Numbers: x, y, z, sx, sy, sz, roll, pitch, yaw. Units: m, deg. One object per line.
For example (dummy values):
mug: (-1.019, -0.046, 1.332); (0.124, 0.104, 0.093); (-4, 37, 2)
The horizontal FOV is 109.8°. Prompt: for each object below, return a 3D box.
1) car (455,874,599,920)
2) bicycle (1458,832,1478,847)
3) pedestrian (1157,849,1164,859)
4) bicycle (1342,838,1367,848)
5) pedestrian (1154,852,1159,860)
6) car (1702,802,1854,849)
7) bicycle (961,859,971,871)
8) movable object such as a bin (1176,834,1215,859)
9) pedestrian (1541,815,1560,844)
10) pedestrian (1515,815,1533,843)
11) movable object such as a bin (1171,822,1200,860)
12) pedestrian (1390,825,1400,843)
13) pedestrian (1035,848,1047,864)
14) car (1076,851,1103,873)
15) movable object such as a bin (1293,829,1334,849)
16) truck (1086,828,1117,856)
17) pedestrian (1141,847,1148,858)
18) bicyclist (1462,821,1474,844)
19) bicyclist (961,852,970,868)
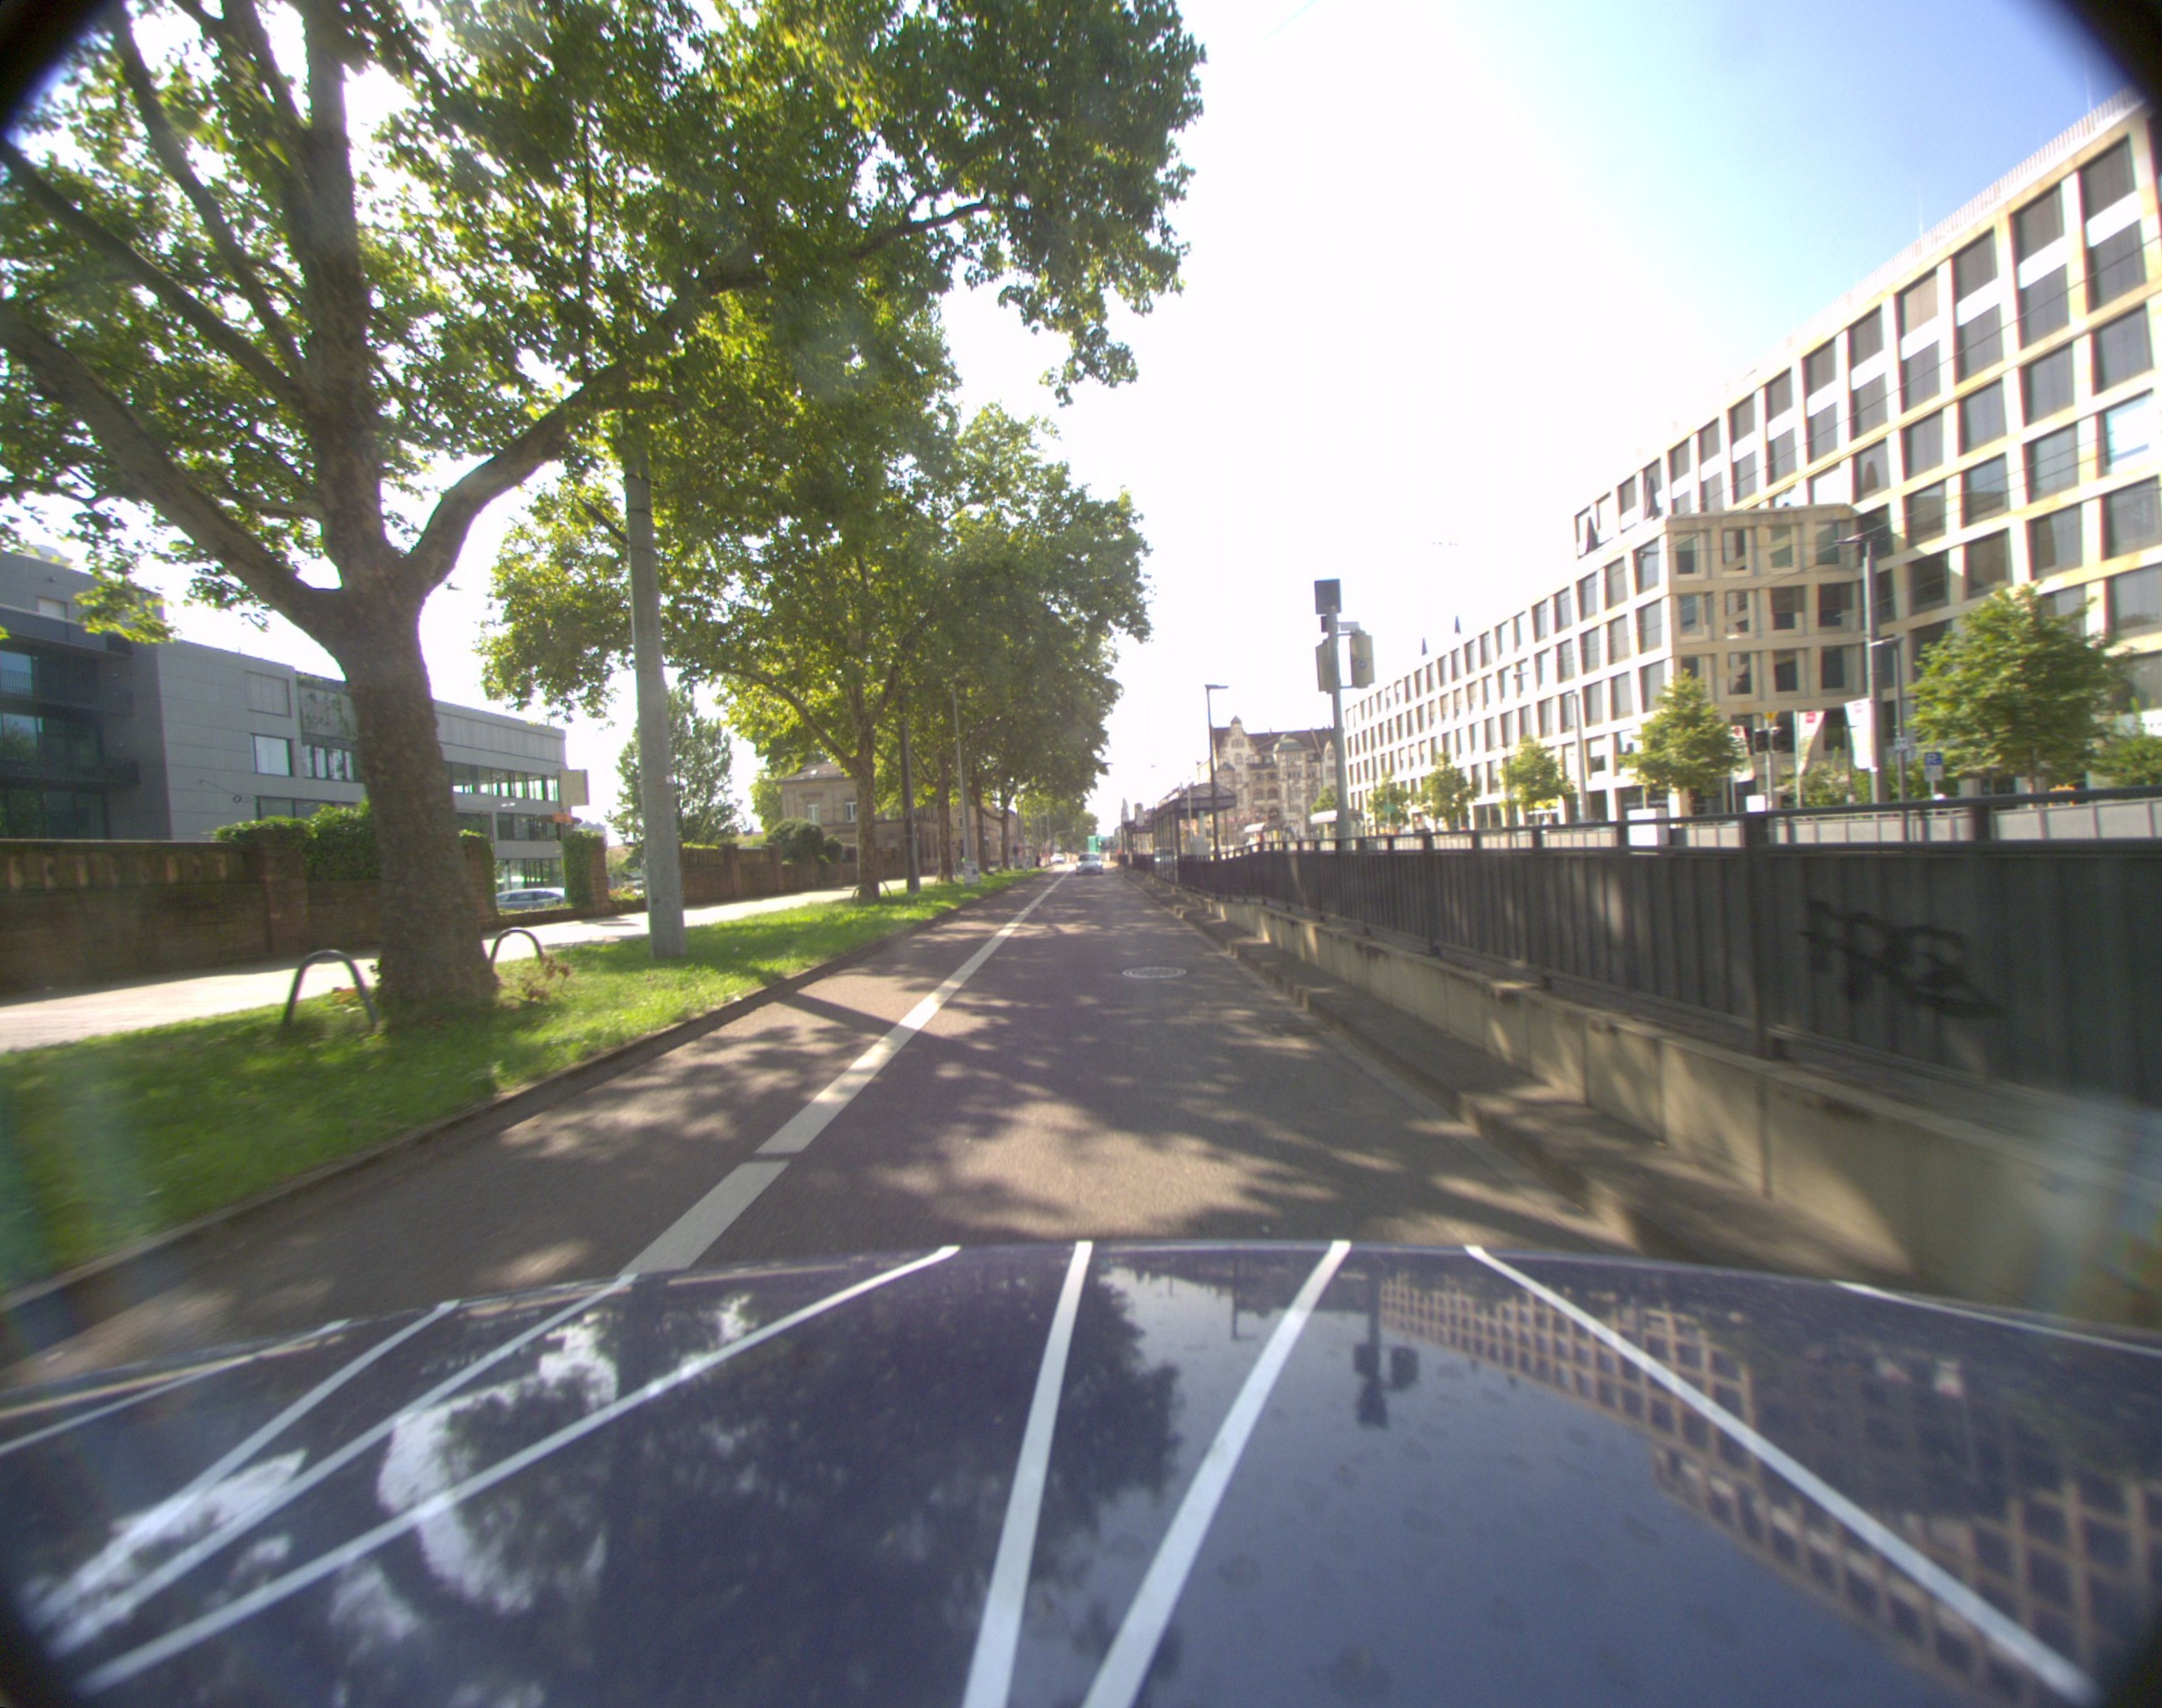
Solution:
car: (-21.490, 1.644, 29.597); (3.998, 1.410, 1.999); (-4, 1, -2)
bicycle: (23.418, -0.867, 46.017); (0.389, 0.874, 1.576); (-3, 0, 1)
pedestrian: (10.197, -0.001, 97.346); (0.701, 1.148, 0.589); (-3, 0, 40)
bicycle: (30.866, -1.246, 85.762); (2.436, 0.962, 1.020); (-3, 0, -1)
pedestrian: (12.546, 0.347, 126.646); (0.678, 1.239, 0.547); (-3, 1, -1)
car: (25.440, -0.996, 27.951); (1.768, 1.525, 4.131); (-2, 0, -1)
bicycle: (-10.342, 0.977, 68.366); (0.549, 1.001, 1.713); (-4, 1, 1)
movable object such as a bin: (15.783, -0.983, 104.929); (4.127, 3.204, 3.564); (-3, 0, -15)
pedestrian: (34.030, -1.776, 55.056); (0.769, 2.002, 0.822); (-4, 1, 4)
pedestrian: (32.454, -1.828, 55.717); (0.768, 2.002, 0.822); (-4, 1, 5)
movable object such as a bin: (13.233, -1.573, 96.581); (2.994, 4.527, 4.212); (-3, 0, 3)
pedestrian: (34.964, -2.267, 84.571); (0.854, 2.002, 0.690); (-1, 2, 0)
pedestrian: (-4.242, 0.188, 80.563); (0.885, 1.616, 0.821); (-4, 0, -35)
car: (0.616, 0.522, 52.529); (1.844, 1.451, 4.000); (0, 1, 1)
movable object such as a bin: (36.447, -2.378, 119.220); (5.515, 2.774, 2.490); (-4, 2, 1)
truck: (2.909, -1.761, 112.063); (2.817, 3.766, 9.008); (-3, 0, -9)
pedestrian: (8.737, -0.237, 104.133); (0.741, 1.470, 0.704); (-3, 0, 23)
bicyclist: (23.390, -1.320, 45.933); (0.387, 1.353, 0.447); (-3, 1, 1)
bicyclist: (-10.370, 0.542, 68.356); (0.549, 1.445, 0.842); (-3, 1, 1)
